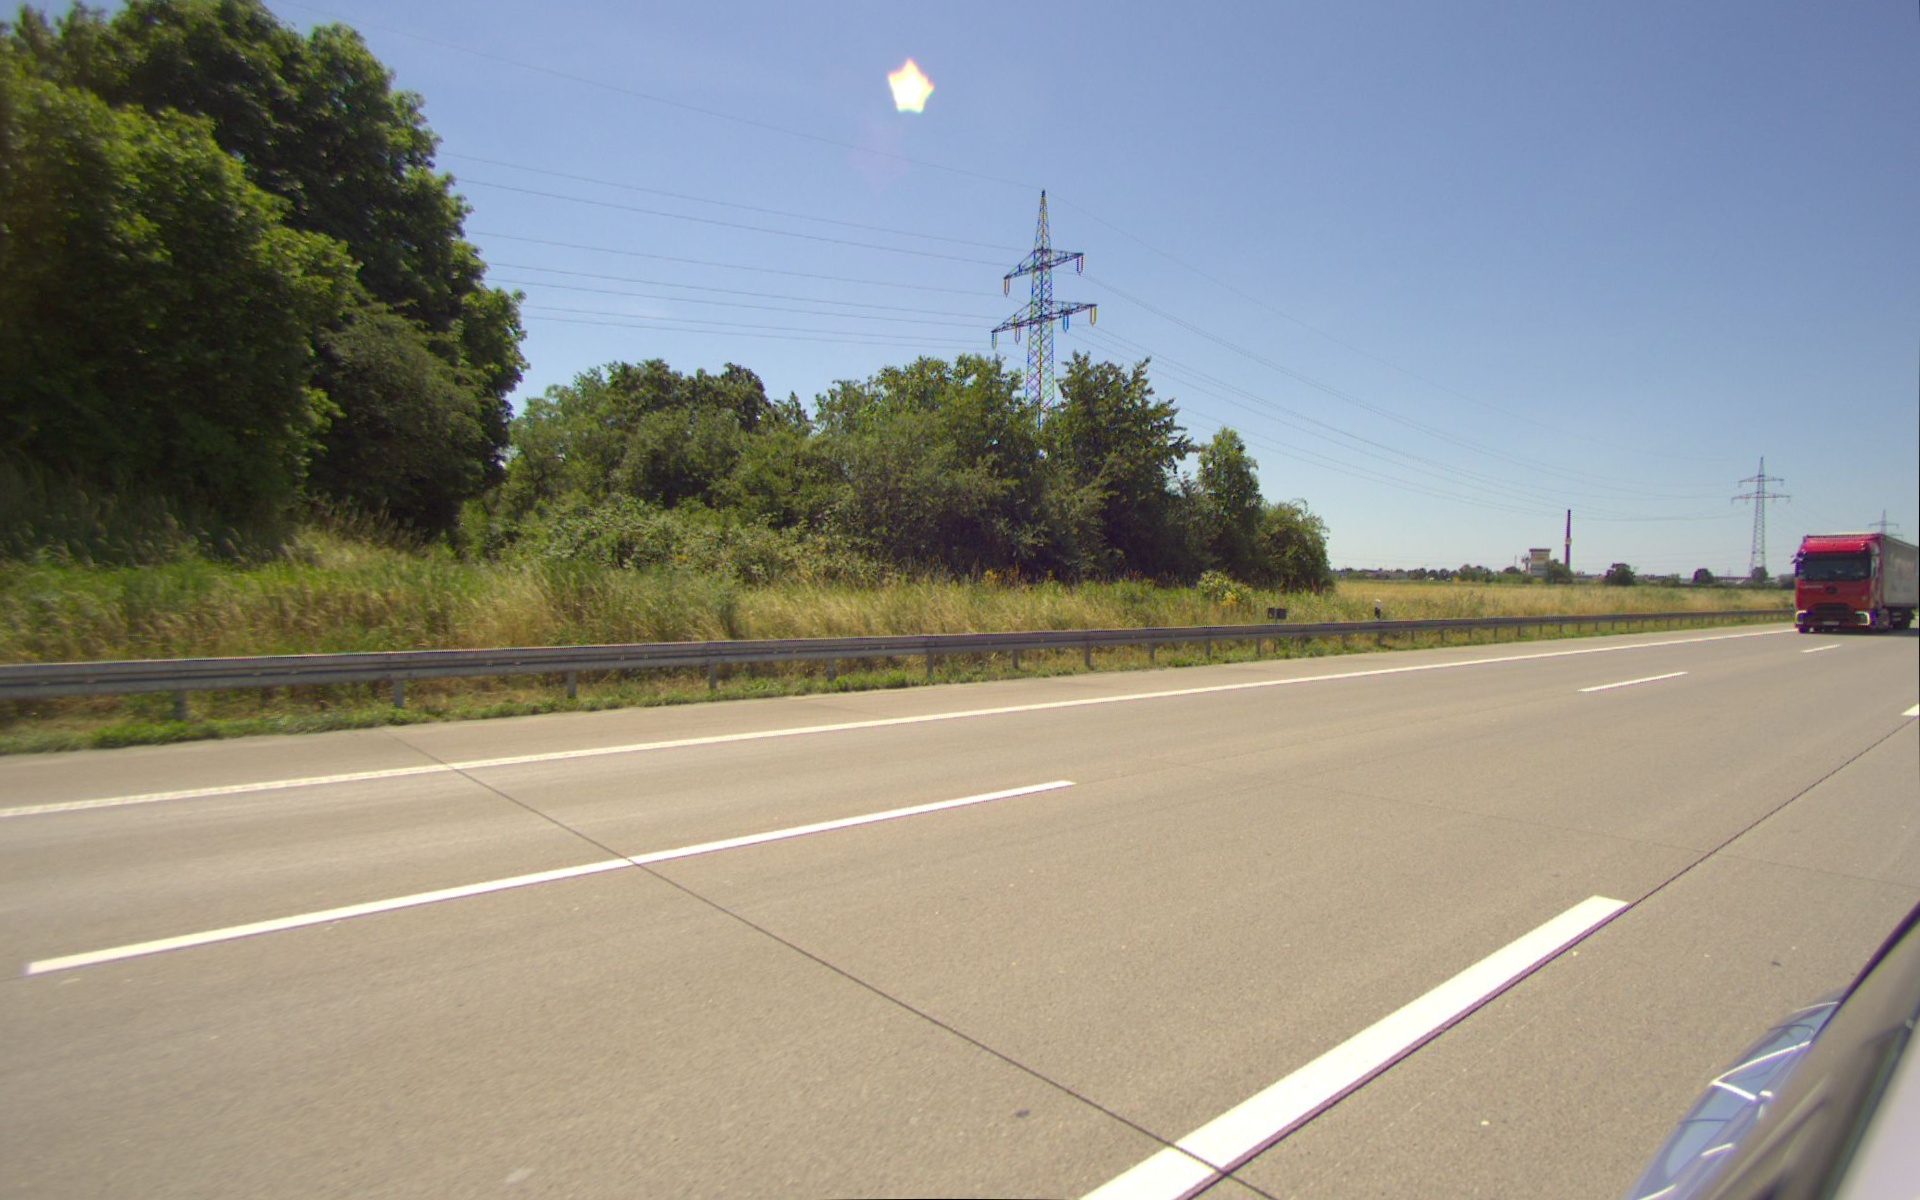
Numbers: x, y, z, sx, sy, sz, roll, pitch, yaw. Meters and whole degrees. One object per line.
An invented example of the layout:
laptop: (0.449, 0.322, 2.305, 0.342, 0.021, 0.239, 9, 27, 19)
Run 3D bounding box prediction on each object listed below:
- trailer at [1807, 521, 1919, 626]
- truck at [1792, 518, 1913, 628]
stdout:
trailer: (41.759, -1.131, 45.971, 13.569, 4.198, 2.957, -1, 0, -41)
truck: (36.933, -1.080, 41.824, 6.045, 4.198, 2.957, 0, 0, -41)
